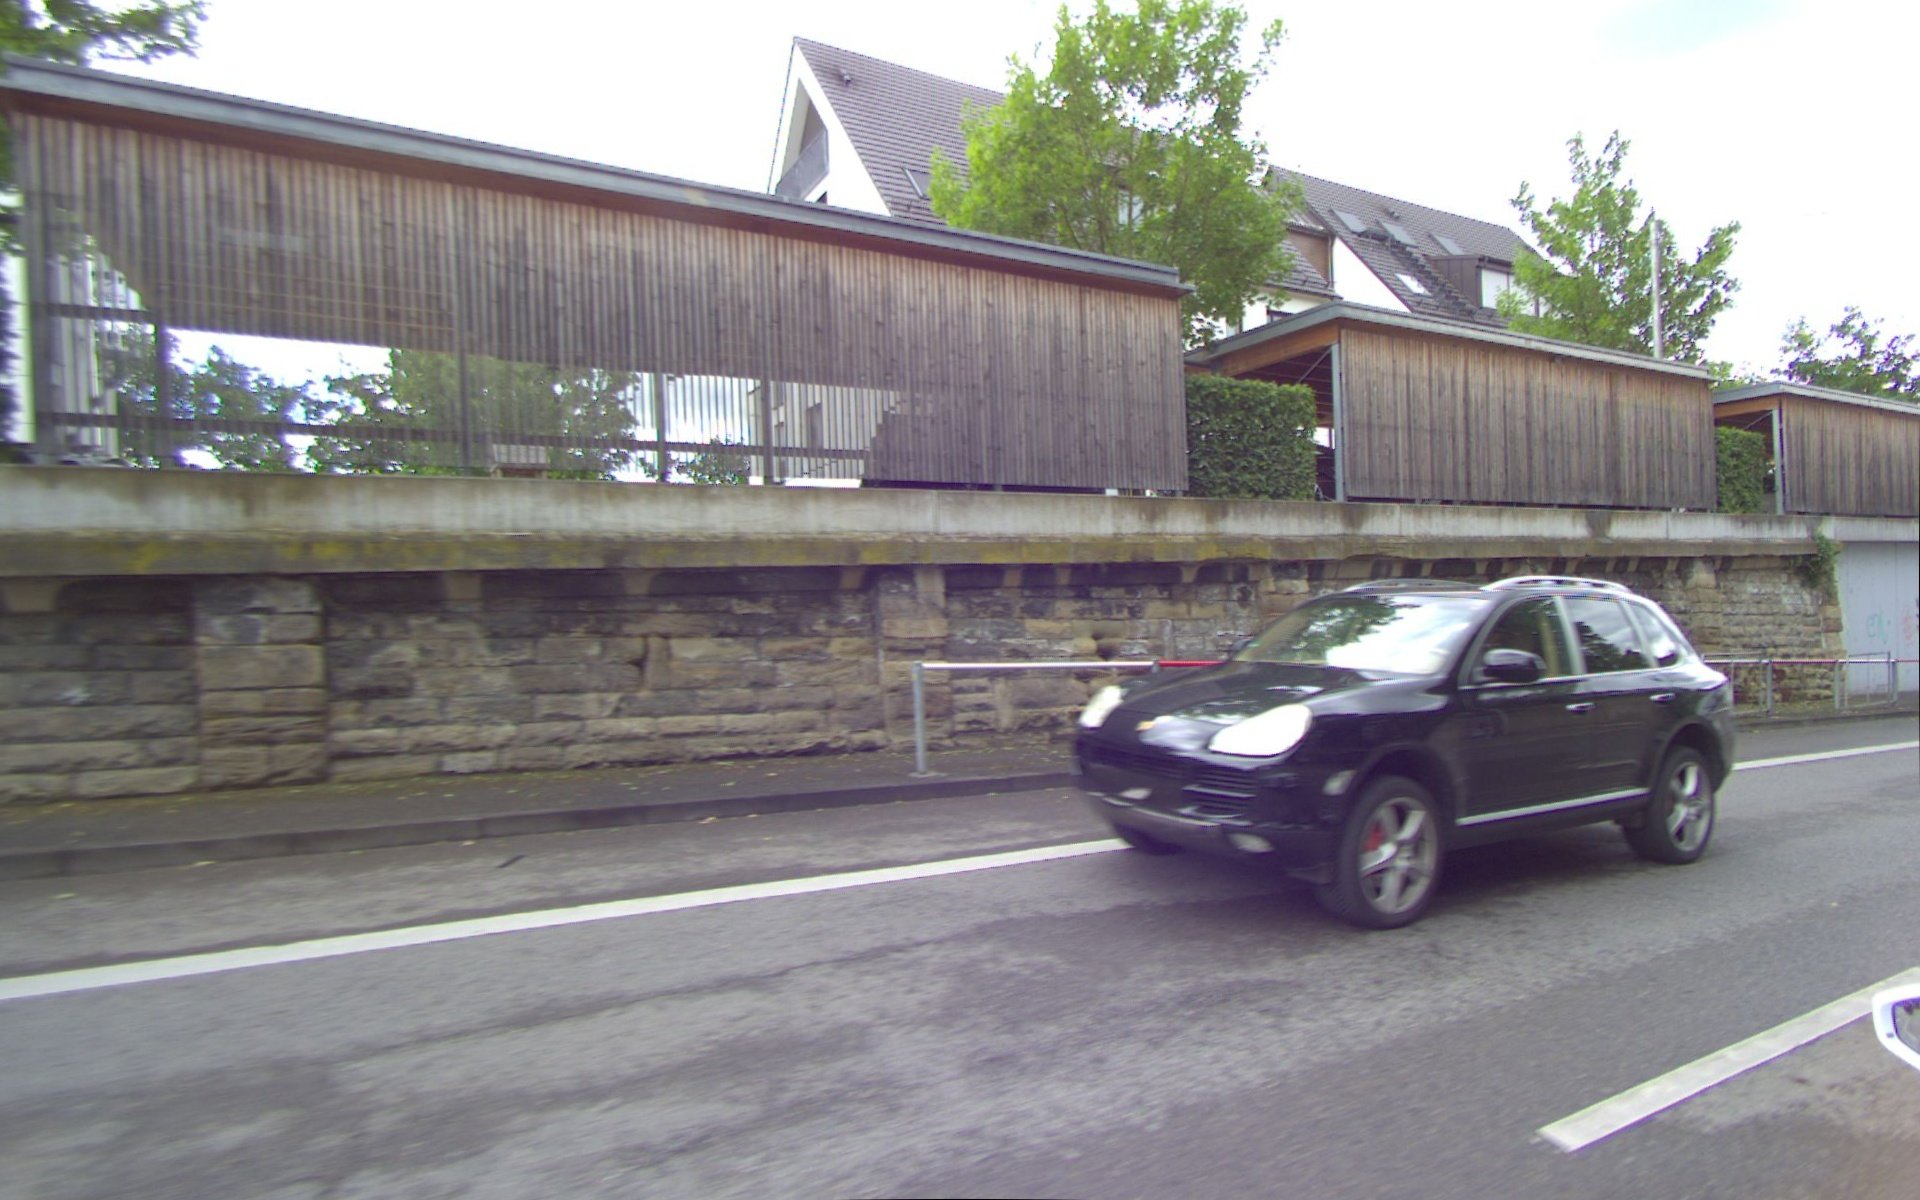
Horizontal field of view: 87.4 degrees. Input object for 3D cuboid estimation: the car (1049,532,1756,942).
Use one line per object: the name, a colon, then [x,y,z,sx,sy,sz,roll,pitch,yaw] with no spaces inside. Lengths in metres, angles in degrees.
car: [2.886,0.665,6.314,4.385,1.779,1.885,1,-2,-31]
